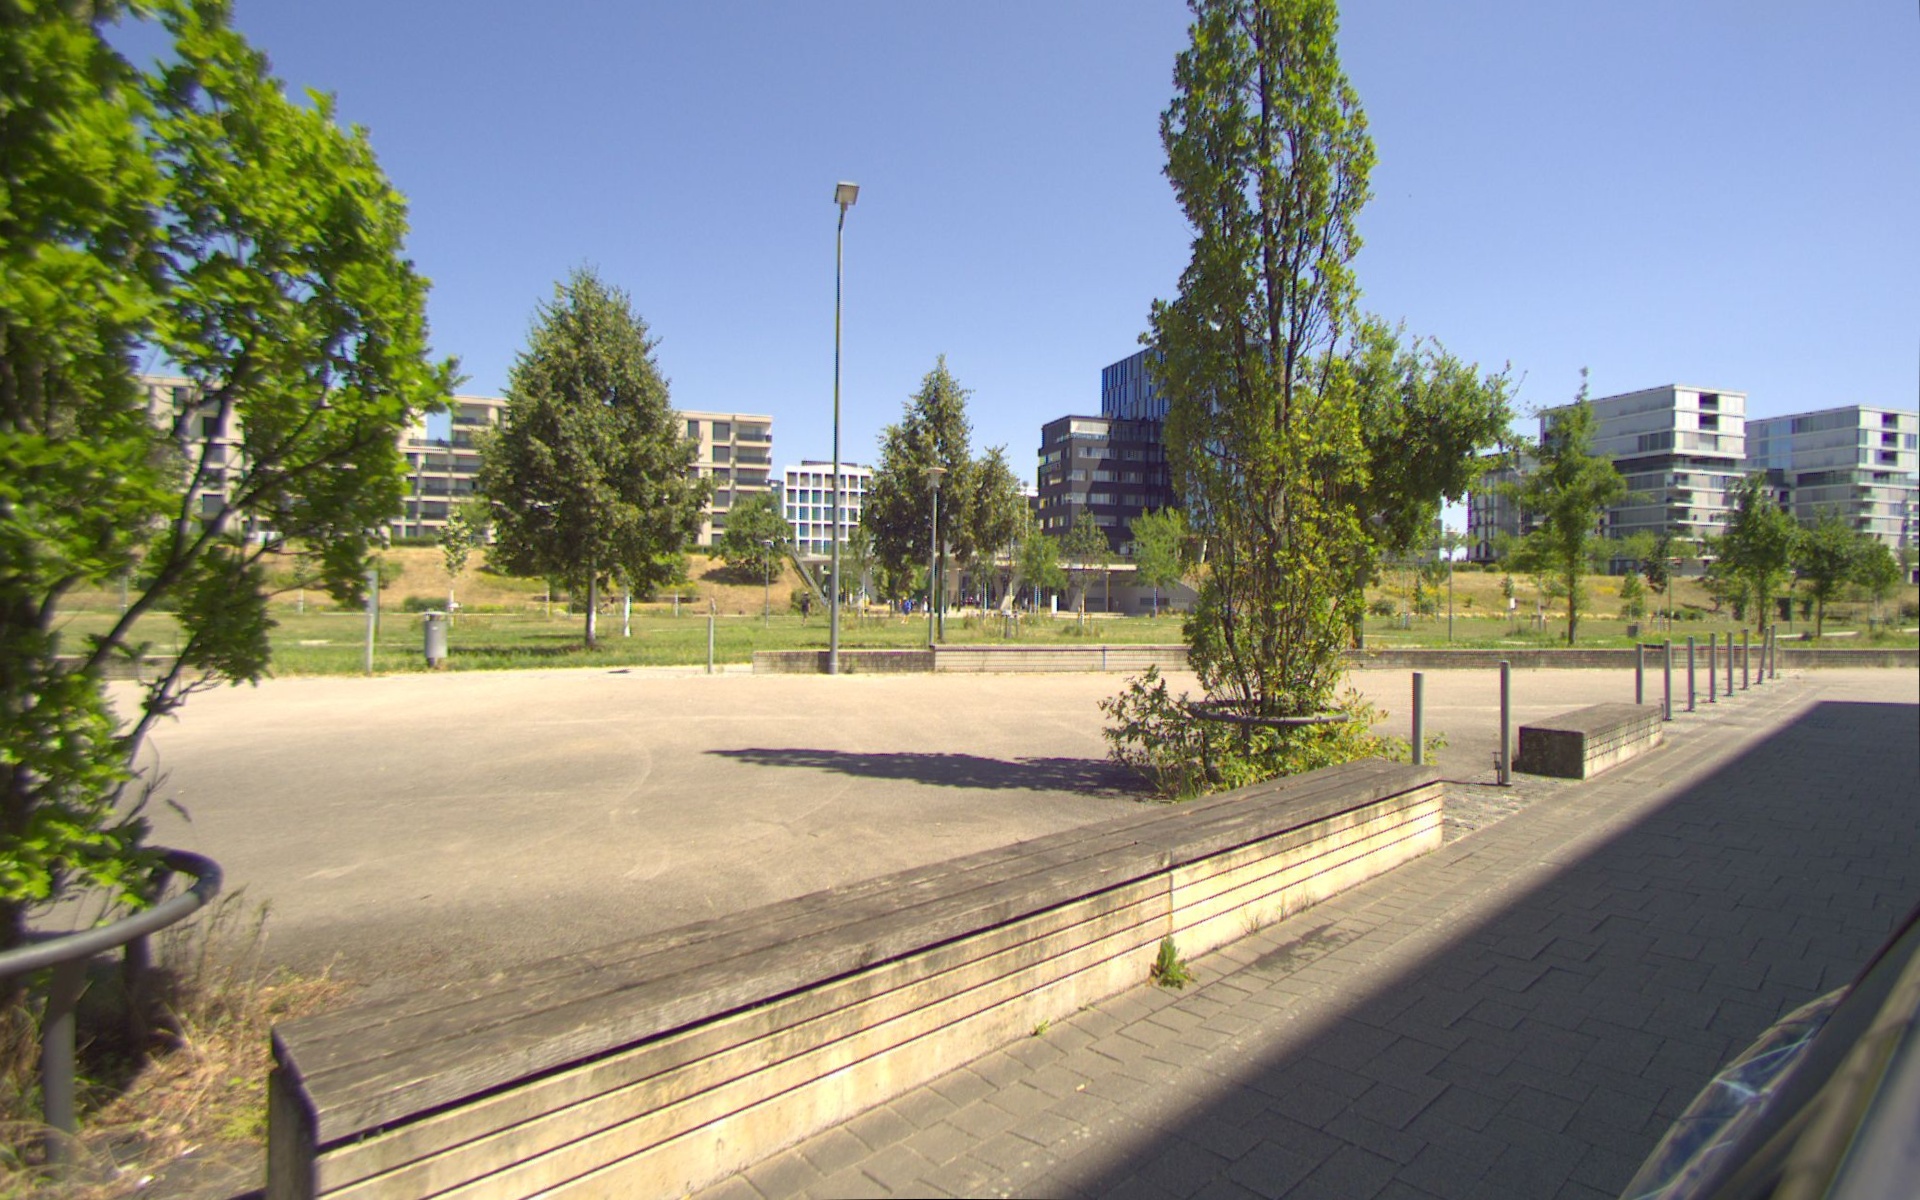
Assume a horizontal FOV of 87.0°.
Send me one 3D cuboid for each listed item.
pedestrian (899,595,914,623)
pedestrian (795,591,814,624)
[{"bbox_3d":[-3.471,0.582,65.332,0.806,1.749,0.610,0,0,24],"label":"pedestrian"},{"bbox_3d":[-8.143,0.382,53.080,0.806,1.749,0.610,0,0,24],"label":"pedestrian"}]
